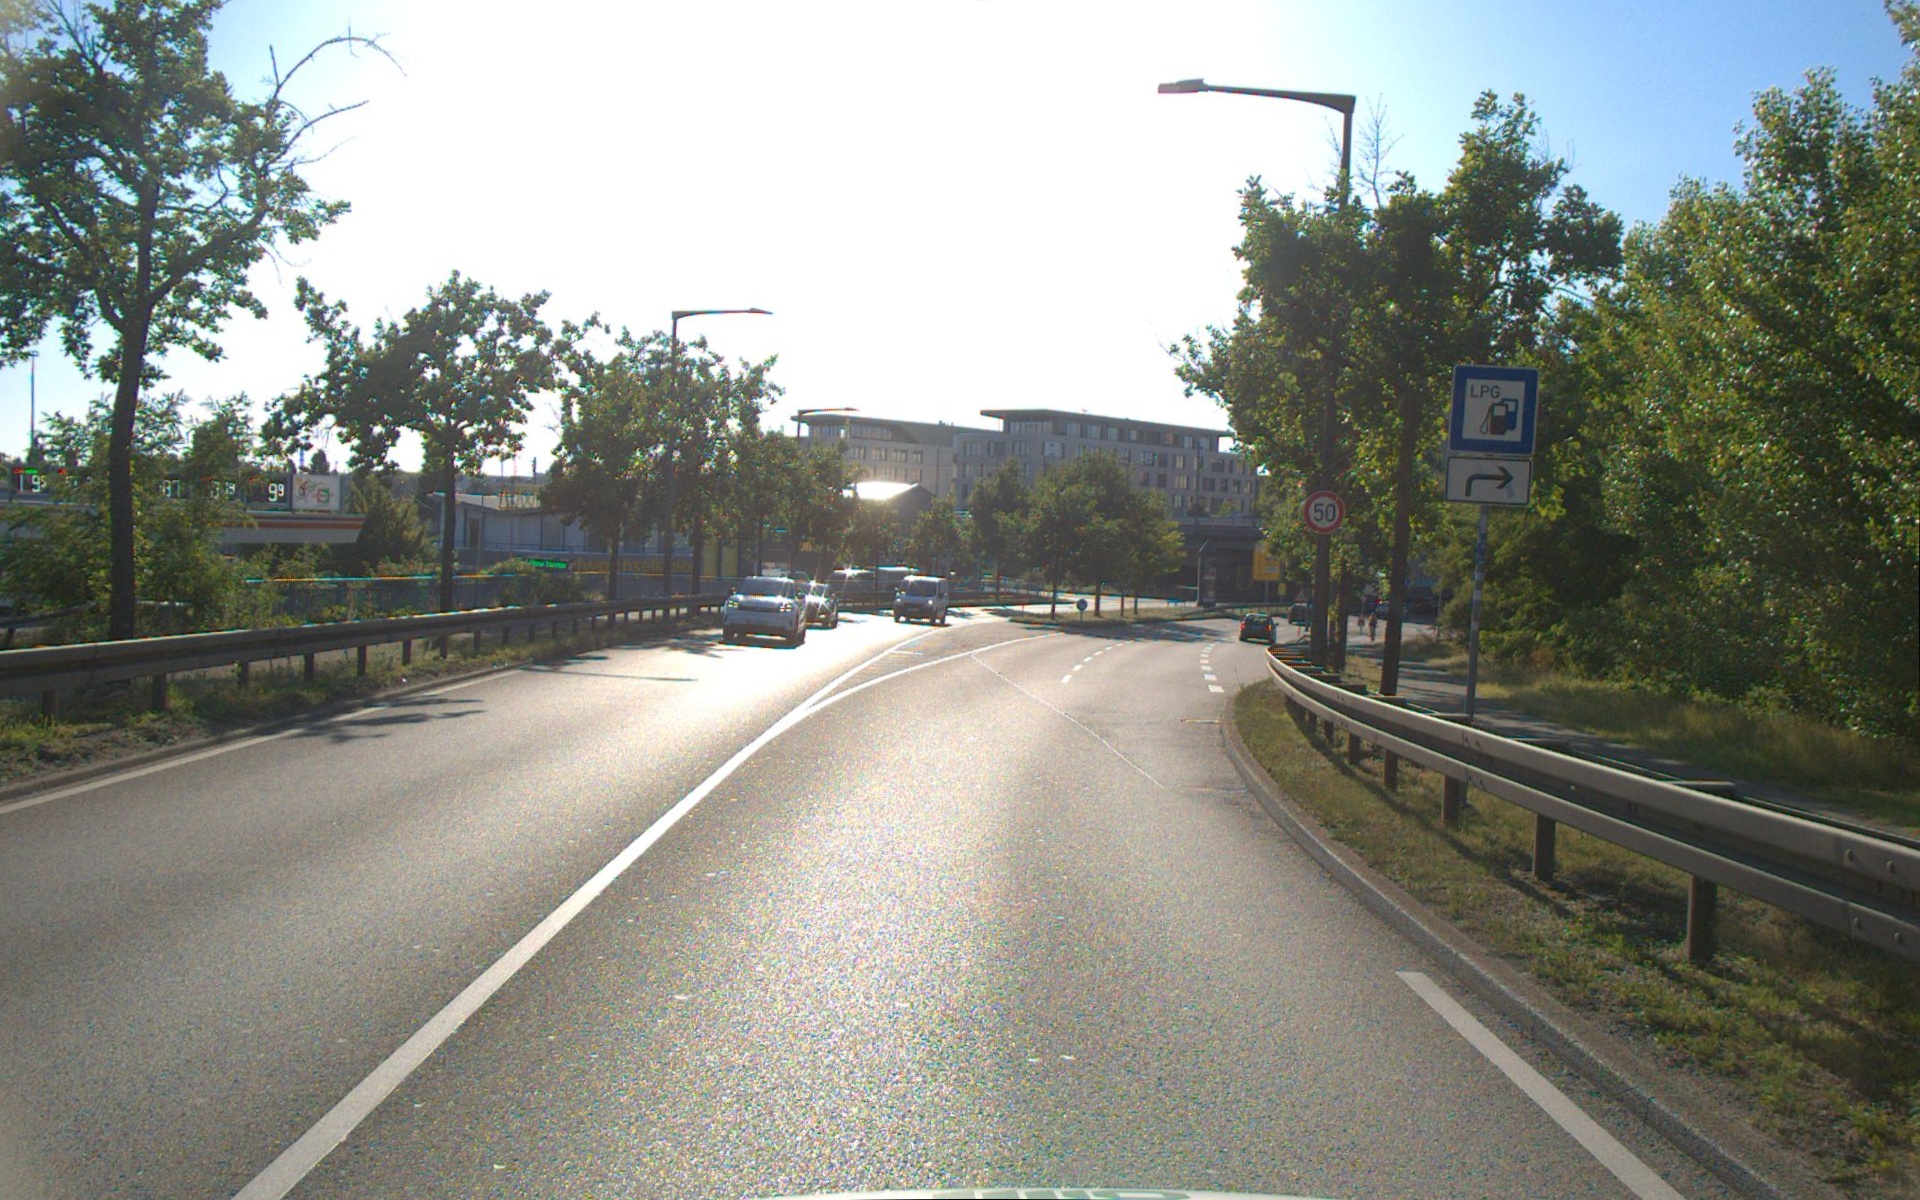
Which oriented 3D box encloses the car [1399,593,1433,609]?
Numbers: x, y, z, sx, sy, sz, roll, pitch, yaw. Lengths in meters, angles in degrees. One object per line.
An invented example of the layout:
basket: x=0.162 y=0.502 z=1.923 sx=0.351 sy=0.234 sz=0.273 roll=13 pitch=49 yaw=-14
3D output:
car: x=41.685 y=0.090 z=151.262 sx=1.811 sy=1.466 sz=3.660 roll=0 pitch=0 yaw=36

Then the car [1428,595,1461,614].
car: x=45.916 y=0.462 z=156.759 sx=1.809 sy=1.749 sz=3.987 roll=0 pitch=0 yaw=34

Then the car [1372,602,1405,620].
car: x=35.752 y=0.879 z=137.930 sx=1.521 sy=1.448 sz=3.405 roll=0 pitch=1 yaw=35

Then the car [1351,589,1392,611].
car: x=35.965 y=-0.029 z=144.493 sx=1.800 sy=1.768 sz=4.442 roll=4 pitch=2 yaw=37

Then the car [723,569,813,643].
car: x=-4.861 y=0.172 z=42.505 sx=1.792 sy=1.616 sz=4.646 roll=6 pitch=-1 yaw=-2

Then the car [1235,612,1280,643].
car: x=15.608 y=1.421 z=86.543 sx=1.951 sy=1.534 sz=4.003 roll=1 pitch=0 yaw=15

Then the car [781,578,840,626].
car: x=-5.076 y=0.045 z=56.554 sx=1.737 sy=1.491 sz=4.381 roll=3 pitch=0 yaw=-3

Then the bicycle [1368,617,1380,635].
bicycle: x=24.873 y=1.544 z=99.317 sx=0.566 sy=0.980 sz=2.888 roll=3 pitch=2 yaw=15

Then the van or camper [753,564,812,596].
van or camper: x=-12.434 y=-1.405 z=115.754 sx=1.982 sy=1.959 sz=4.167 roll=3 pitch=0 yaw=-41

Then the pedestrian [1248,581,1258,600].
pedestrian: x=30.099 y=-0.974 z=169.738 sx=0.684 sy=1.936 sz=0.661 roll=4 pitch=2 yaw=42

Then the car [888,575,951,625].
car: x=-1.706 y=0.008 z=71.618 sx=1.838 sy=2.049 sz=5.264 roll=2 pitch=0 yaw=8

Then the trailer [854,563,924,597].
trailer: x=-4.561 y=-1.257 z=107.358 sx=2.369 sy=2.004 sz=6.609 roll=4 pitch=1 yaw=17

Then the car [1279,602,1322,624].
car: x=24.659 y=0.920 z=119.588 sx=1.555 sy=1.432 sz=3.818 roll=5 pitch=2 yaw=35

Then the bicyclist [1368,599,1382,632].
bicyclist: x=24.931 y=0.908 z=99.378 sx=0.667 sy=1.939 sz=0.834 roll=3 pitch=2 yaw=15
